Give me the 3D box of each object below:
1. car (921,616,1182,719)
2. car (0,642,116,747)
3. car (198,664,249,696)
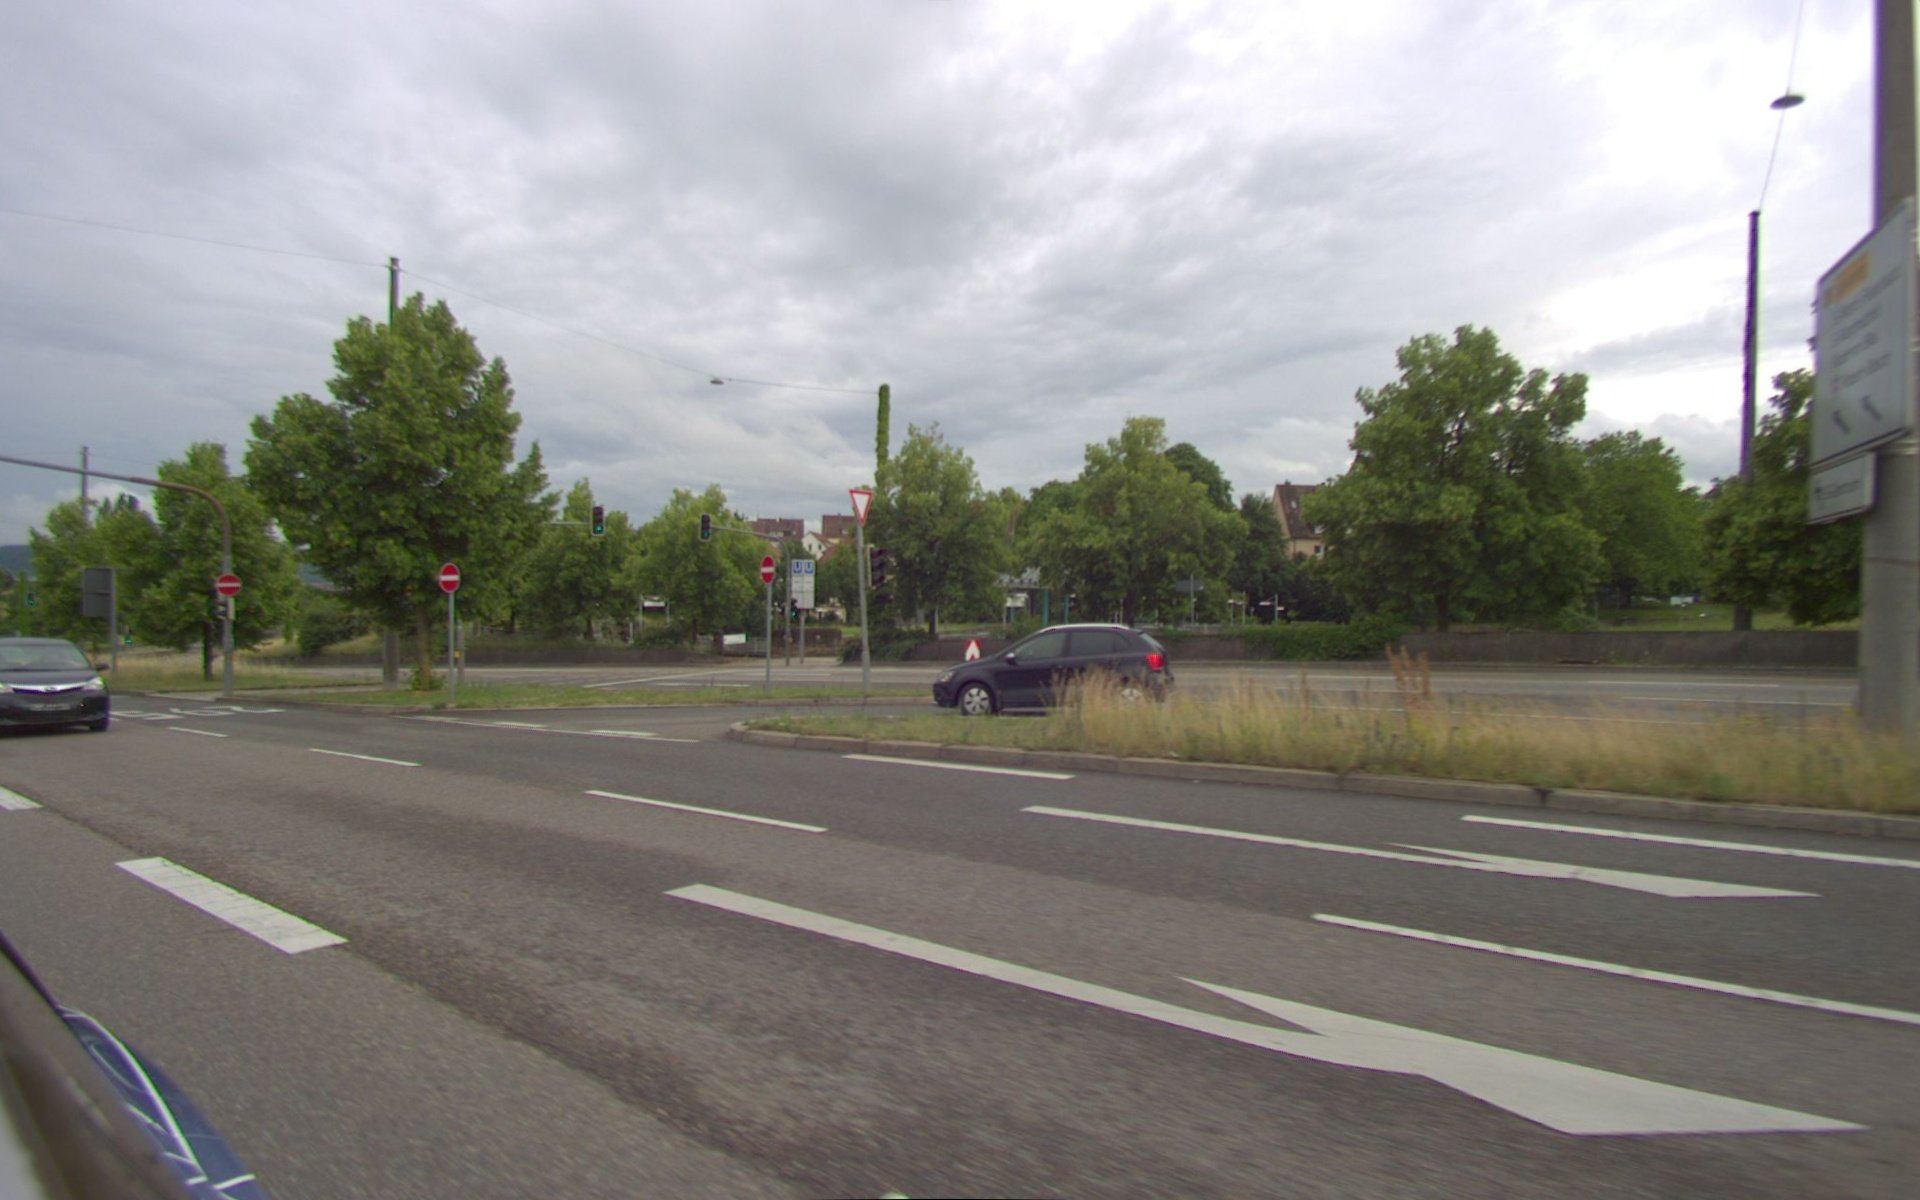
[{"bbox_3d":[1.531,1.080,16.431,3.963,1.519,1.886,-2,-2,15],"label":"car"},{"bbox_3d":[-15.746,1.569,16.971,4.040,1.578,1.777,-5,-5,41],"label":"car"},{"bbox_3d":[-50.897,5.502,69.926,3.997,2.029,1.973,-3,-3,40],"label":"car"}]
